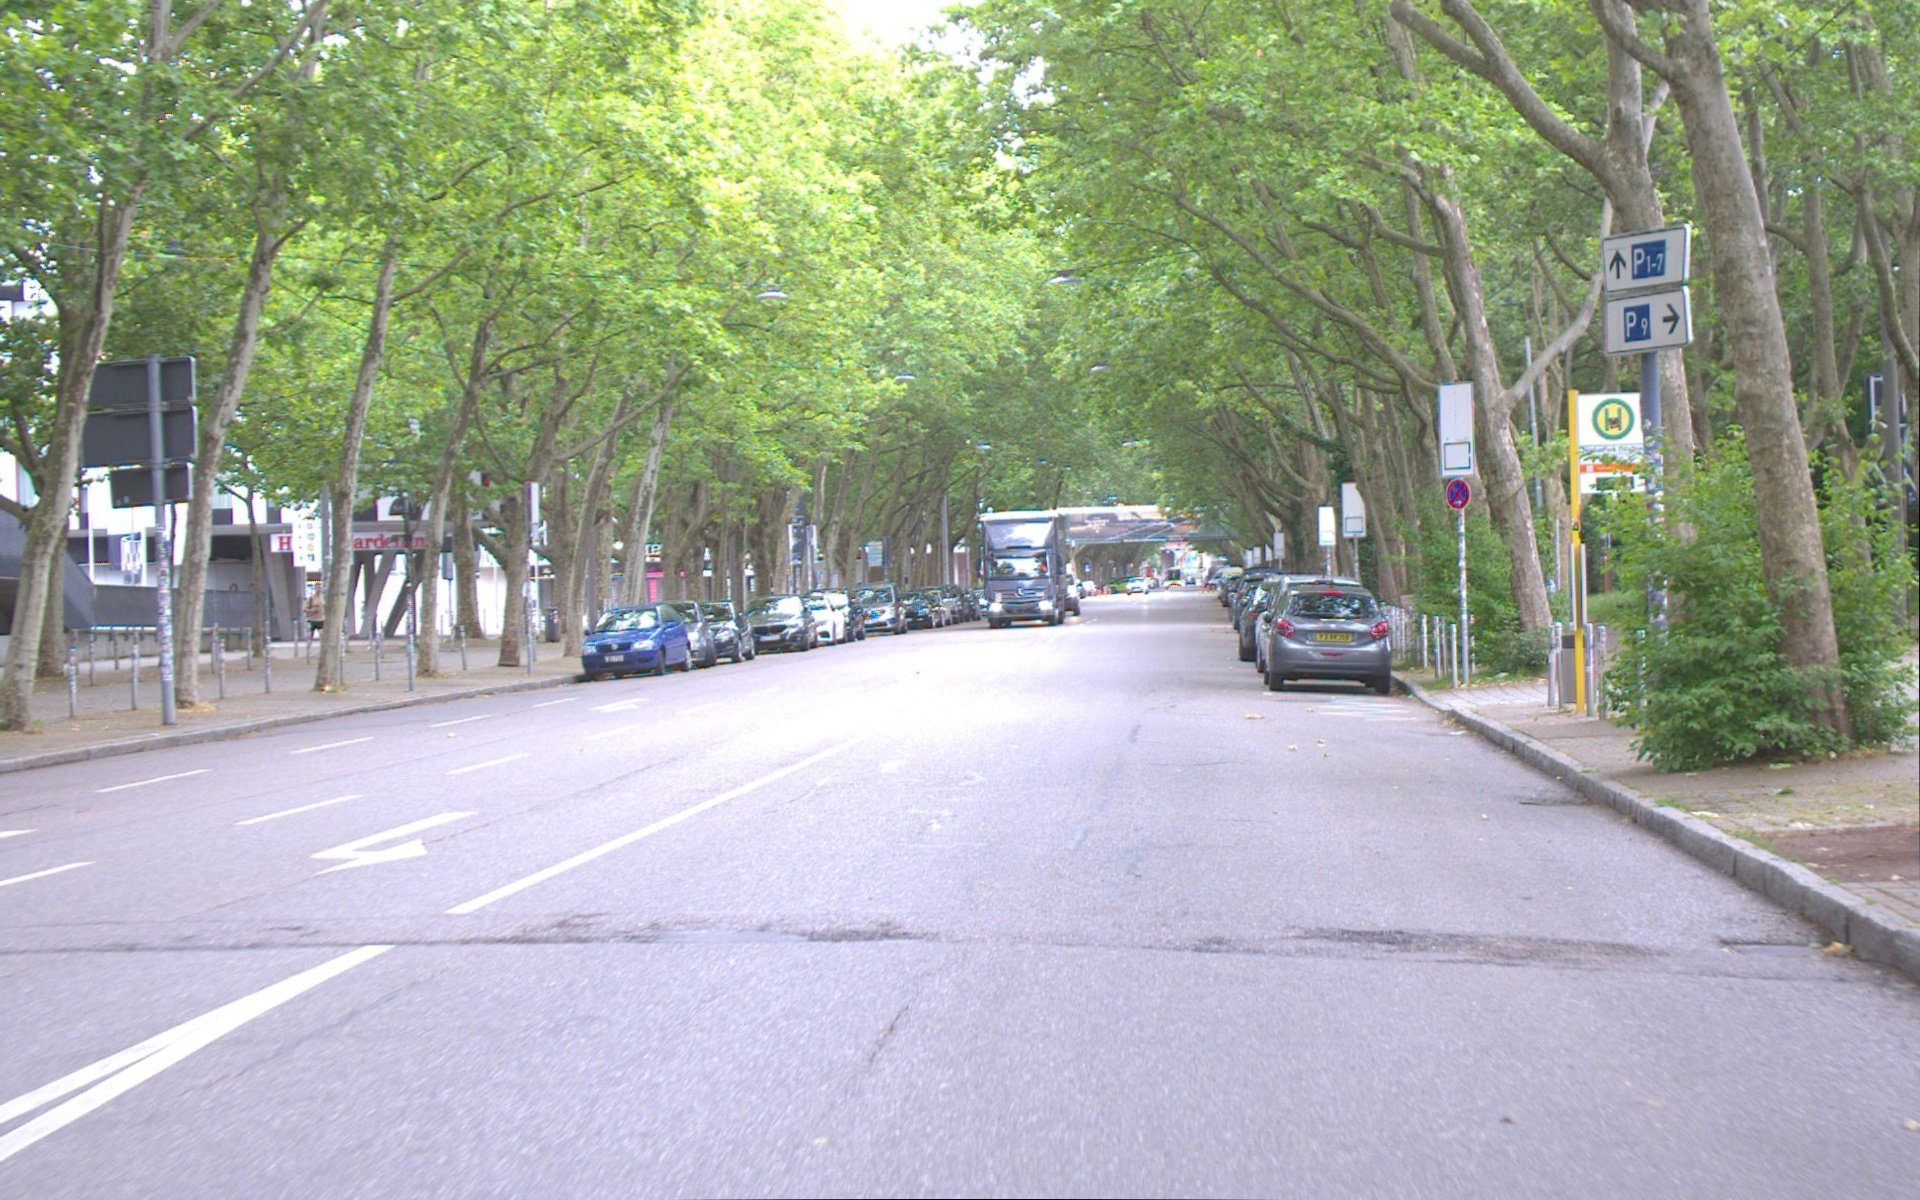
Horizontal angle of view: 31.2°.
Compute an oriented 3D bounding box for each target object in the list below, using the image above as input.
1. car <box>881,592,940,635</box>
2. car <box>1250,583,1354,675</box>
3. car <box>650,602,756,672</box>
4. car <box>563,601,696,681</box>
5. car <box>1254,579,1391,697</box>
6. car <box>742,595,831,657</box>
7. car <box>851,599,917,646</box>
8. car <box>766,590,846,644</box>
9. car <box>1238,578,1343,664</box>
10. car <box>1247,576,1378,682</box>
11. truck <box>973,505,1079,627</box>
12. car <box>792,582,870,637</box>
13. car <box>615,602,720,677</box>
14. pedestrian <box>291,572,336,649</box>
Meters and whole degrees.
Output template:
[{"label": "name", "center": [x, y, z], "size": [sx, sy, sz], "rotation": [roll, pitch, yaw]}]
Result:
[{"label": "car", "center": [-1.829, 0.517, 126.916], "size": [1.895, 1.433, 3.999], "rotation": [-3, -1, 2]}, {"label": "car", "center": [5.934, 0.486, 59.689], "size": [1.676, 1.485, 3.686], "rotation": [2, 0, 6]}, {"label": "car", "center": [-5.742, 0.829, 77.168], "size": [1.766, 1.414, 3.761], "rotation": [-4, -1, 4]}, {"label": "car", "center": [-6.499, 0.799, 67.973], "size": [1.696, 1.414, 3.760], "rotation": [-4, -1, 8]}, {"label": "car", "center": [5.116, 0.499, 48.975], "size": [1.699, 1.514, 4.453], "rotation": [2, 1, 4]}, {"label": "car", "center": [-4.381, 0.670, 87.375], "size": [1.766, 1.414, 3.761], "rotation": [-4, -1, 4]}, {"label": "car", "center": [-2.510, 0.759, 114.593], "size": [1.895, 1.433, 3.999], "rotation": [-3, -1, 2]}, {"label": "car", "center": [-4.210, 0.478, 94.601], "size": [1.732, 1.328, 3.999], "rotation": [-3, -1, 3]}, {"label": "car", "center": [6.132, 0.375, 64.141], "size": [1.756, 1.485, 4.416], "rotation": [2, 0, 4]}, {"label": "car", "center": [5.561, 0.432, 54.587], "size": [1.719, 1.562, 4.094], "rotation": [2, 0, 2]}, {"label": "truck", "center": [2.331, -1.130, 117.965], "size": [2.642, 3.888, 9.538], "rotation": [-3, 0, 6]}, {"label": "car", "center": [-3.742, 0.288, 100.295], "size": [1.895, 1.433, 3.999], "rotation": [-3, -1, 2]}, {"label": "car", "center": [-6.164, 0.849, 72.763], "size": [1.766, 1.414, 3.761], "rotation": [-4, -1, 1]}, {"label": "pedestrian", "center": [-15.581, 0.251, 82.822], "size": [0.769, 1.828, 0.879], "rotation": [-1, 0, -30]}]
